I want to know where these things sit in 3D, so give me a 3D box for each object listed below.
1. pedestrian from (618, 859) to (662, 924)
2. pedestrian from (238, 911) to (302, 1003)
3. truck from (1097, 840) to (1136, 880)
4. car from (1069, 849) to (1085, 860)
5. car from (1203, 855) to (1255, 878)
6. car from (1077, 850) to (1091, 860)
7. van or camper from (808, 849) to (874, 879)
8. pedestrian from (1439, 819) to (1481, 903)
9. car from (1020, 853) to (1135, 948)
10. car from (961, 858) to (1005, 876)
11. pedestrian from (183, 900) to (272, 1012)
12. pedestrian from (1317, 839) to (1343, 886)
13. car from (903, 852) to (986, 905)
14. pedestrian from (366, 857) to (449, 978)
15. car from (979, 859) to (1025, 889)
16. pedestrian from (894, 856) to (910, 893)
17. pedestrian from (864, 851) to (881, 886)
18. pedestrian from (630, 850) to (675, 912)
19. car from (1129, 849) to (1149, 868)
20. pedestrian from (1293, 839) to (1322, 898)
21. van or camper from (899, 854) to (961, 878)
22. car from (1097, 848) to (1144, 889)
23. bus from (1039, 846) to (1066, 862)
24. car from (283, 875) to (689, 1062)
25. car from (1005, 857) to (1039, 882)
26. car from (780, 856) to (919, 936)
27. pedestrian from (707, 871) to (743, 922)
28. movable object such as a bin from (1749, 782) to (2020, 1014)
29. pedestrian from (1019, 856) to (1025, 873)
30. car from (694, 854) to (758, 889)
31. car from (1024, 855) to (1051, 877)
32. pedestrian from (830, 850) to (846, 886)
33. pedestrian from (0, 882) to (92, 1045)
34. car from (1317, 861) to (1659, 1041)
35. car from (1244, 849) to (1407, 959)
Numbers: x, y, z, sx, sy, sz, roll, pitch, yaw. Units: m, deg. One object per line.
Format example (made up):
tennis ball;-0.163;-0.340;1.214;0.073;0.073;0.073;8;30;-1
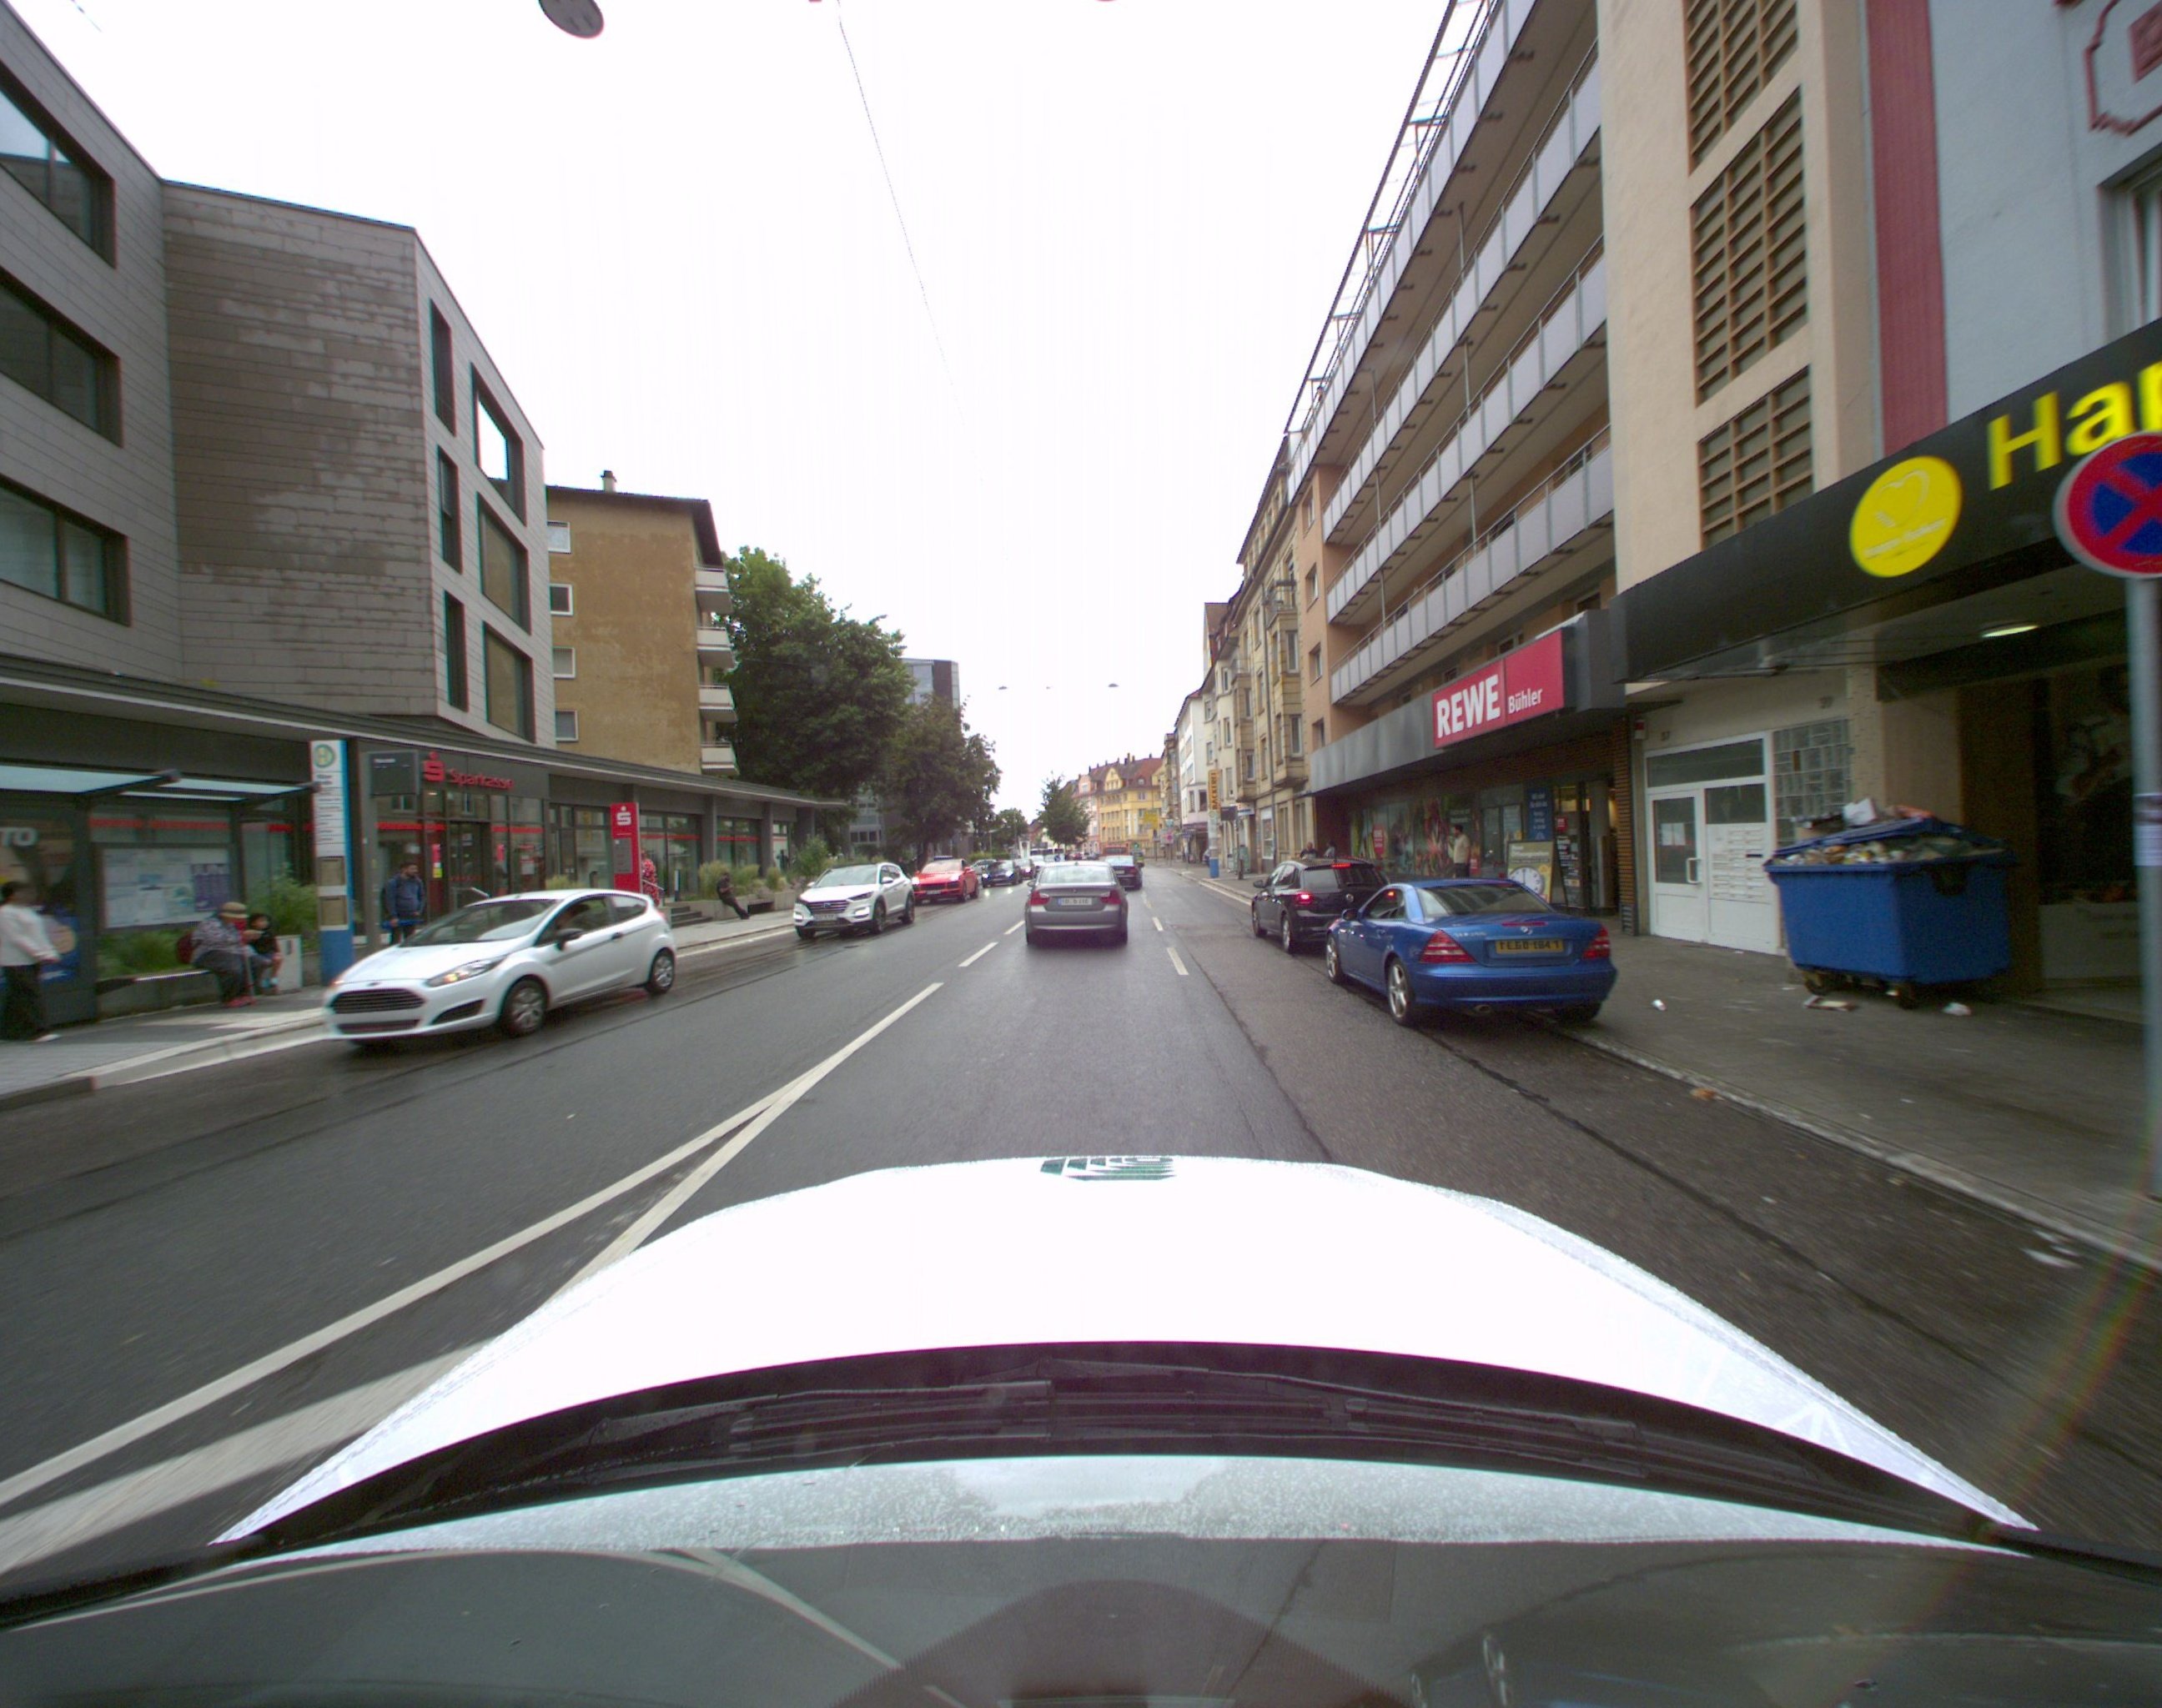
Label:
pedestrian;-11.613;0.976;21.480;0.711;1.678;0.714;-2;0;2
pedestrian;-10.345;1.301;10.393;0.390;1.117;0.386;-2;0;2
truck;2.167;0.345;49.840;2.216;2.249;5.065;-1;0;2
car;-0.739;0.177;160.748;1.999;2.013;3.975;-2;0;-19
car;12.099;1.021;66.619;4.112;1.772;1.879;-2;0;10
car;0.629;0.260;174.467;1.769;2.180;3.970;1;-1;-23
van or camper;-18.597;0.763;63.138;4.628;2.266;2.192;0;0;-27
pedestrian;8.594;0.154;18.484;0.593;1.859;0.728;-2;-1;6
car;-0.002;0.763;15.141;1.792;1.464;4.372;-2;-1;1
car;-8.924;1.194;74.416;3.600;1.569;1.724;-1;0;-31
pedestrian;-10.354;1.216;9.897;0.466;1.277;0.549;-2;0;2
pedestrian;8.482;0.287;27.759;0.562;1.572;0.624;-2;0;-14
car;-5.208;0.910;31.839;2.098;1.764;5.062;-4;-1;2
pedestrian;-10.578;0.965;12.817;0.588;1.819;0.868;-2;0;-6
car;-4.587;1.140;47.918;1.948;1.511;4.914;-4;0;2
pedestrian;-9.065;1.023;41.240;0.722;1.826;0.718;-1;0;-17
pedestrian;-11.133;0.740;43.463;0.723;1.826;0.849;-1;0;-20
pedestrian;-11.941;0.732;22.694;0.704;1.678;0.805;-2;0;30
car;6.472;0.513;91.148;1.986;2.013;4.002;-2;0;2
pedestrian;6.537;0.400;23.539;0.622;1.651;0.750;-2;2;4
van or camper;-13.323;1.035;71.885;4.979;2.013;1.982;-1;0;-27
car;1.614;0.584;33.775;1.792;1.563;4.001;-2;-1;1
bus;-6.239;0.032;174.274;2.919;3.105;9.079;-3;0;-21
car;-6.248;1.077;9.198;1.609;1.464;3.809;-3;0;2
car;-4.068;1.086;57.047;1.948;1.557;4.244;-3;0;1
car;-5.348;0.924;19.452;1.887;1.573;4.127;-4;-1;2
pedestrian;-10.360;1.235;23.694;0.584;1.420;0.730;-2;0;37
movable object such as a bin;6.891;0.352;7.094;0.996;1.793;1.296;-3;-1;0
pedestrian;-6.260;1.117;86.183;0.573;1.762;0.580;-2;0;-4
car;-25.432;1.229;58.348;4.008;2.255;1.983;-3;0;-26
car;-3.574;0.951;67.049;1.813;1.569;4.090;-4;0;1
pedestrian;-12.122;0.695;40.585;0.657;1.759;0.716;-2;0;-21
pedestrian;-10.425;1.069;8.116;0.436;1.549;0.533;-2;0;1
car;3.723;0.781;8.245;1.727;1.310;3.770;-2;0;3
car;3.965;0.713;13.883;1.723;1.547;3.985;2;1;3
